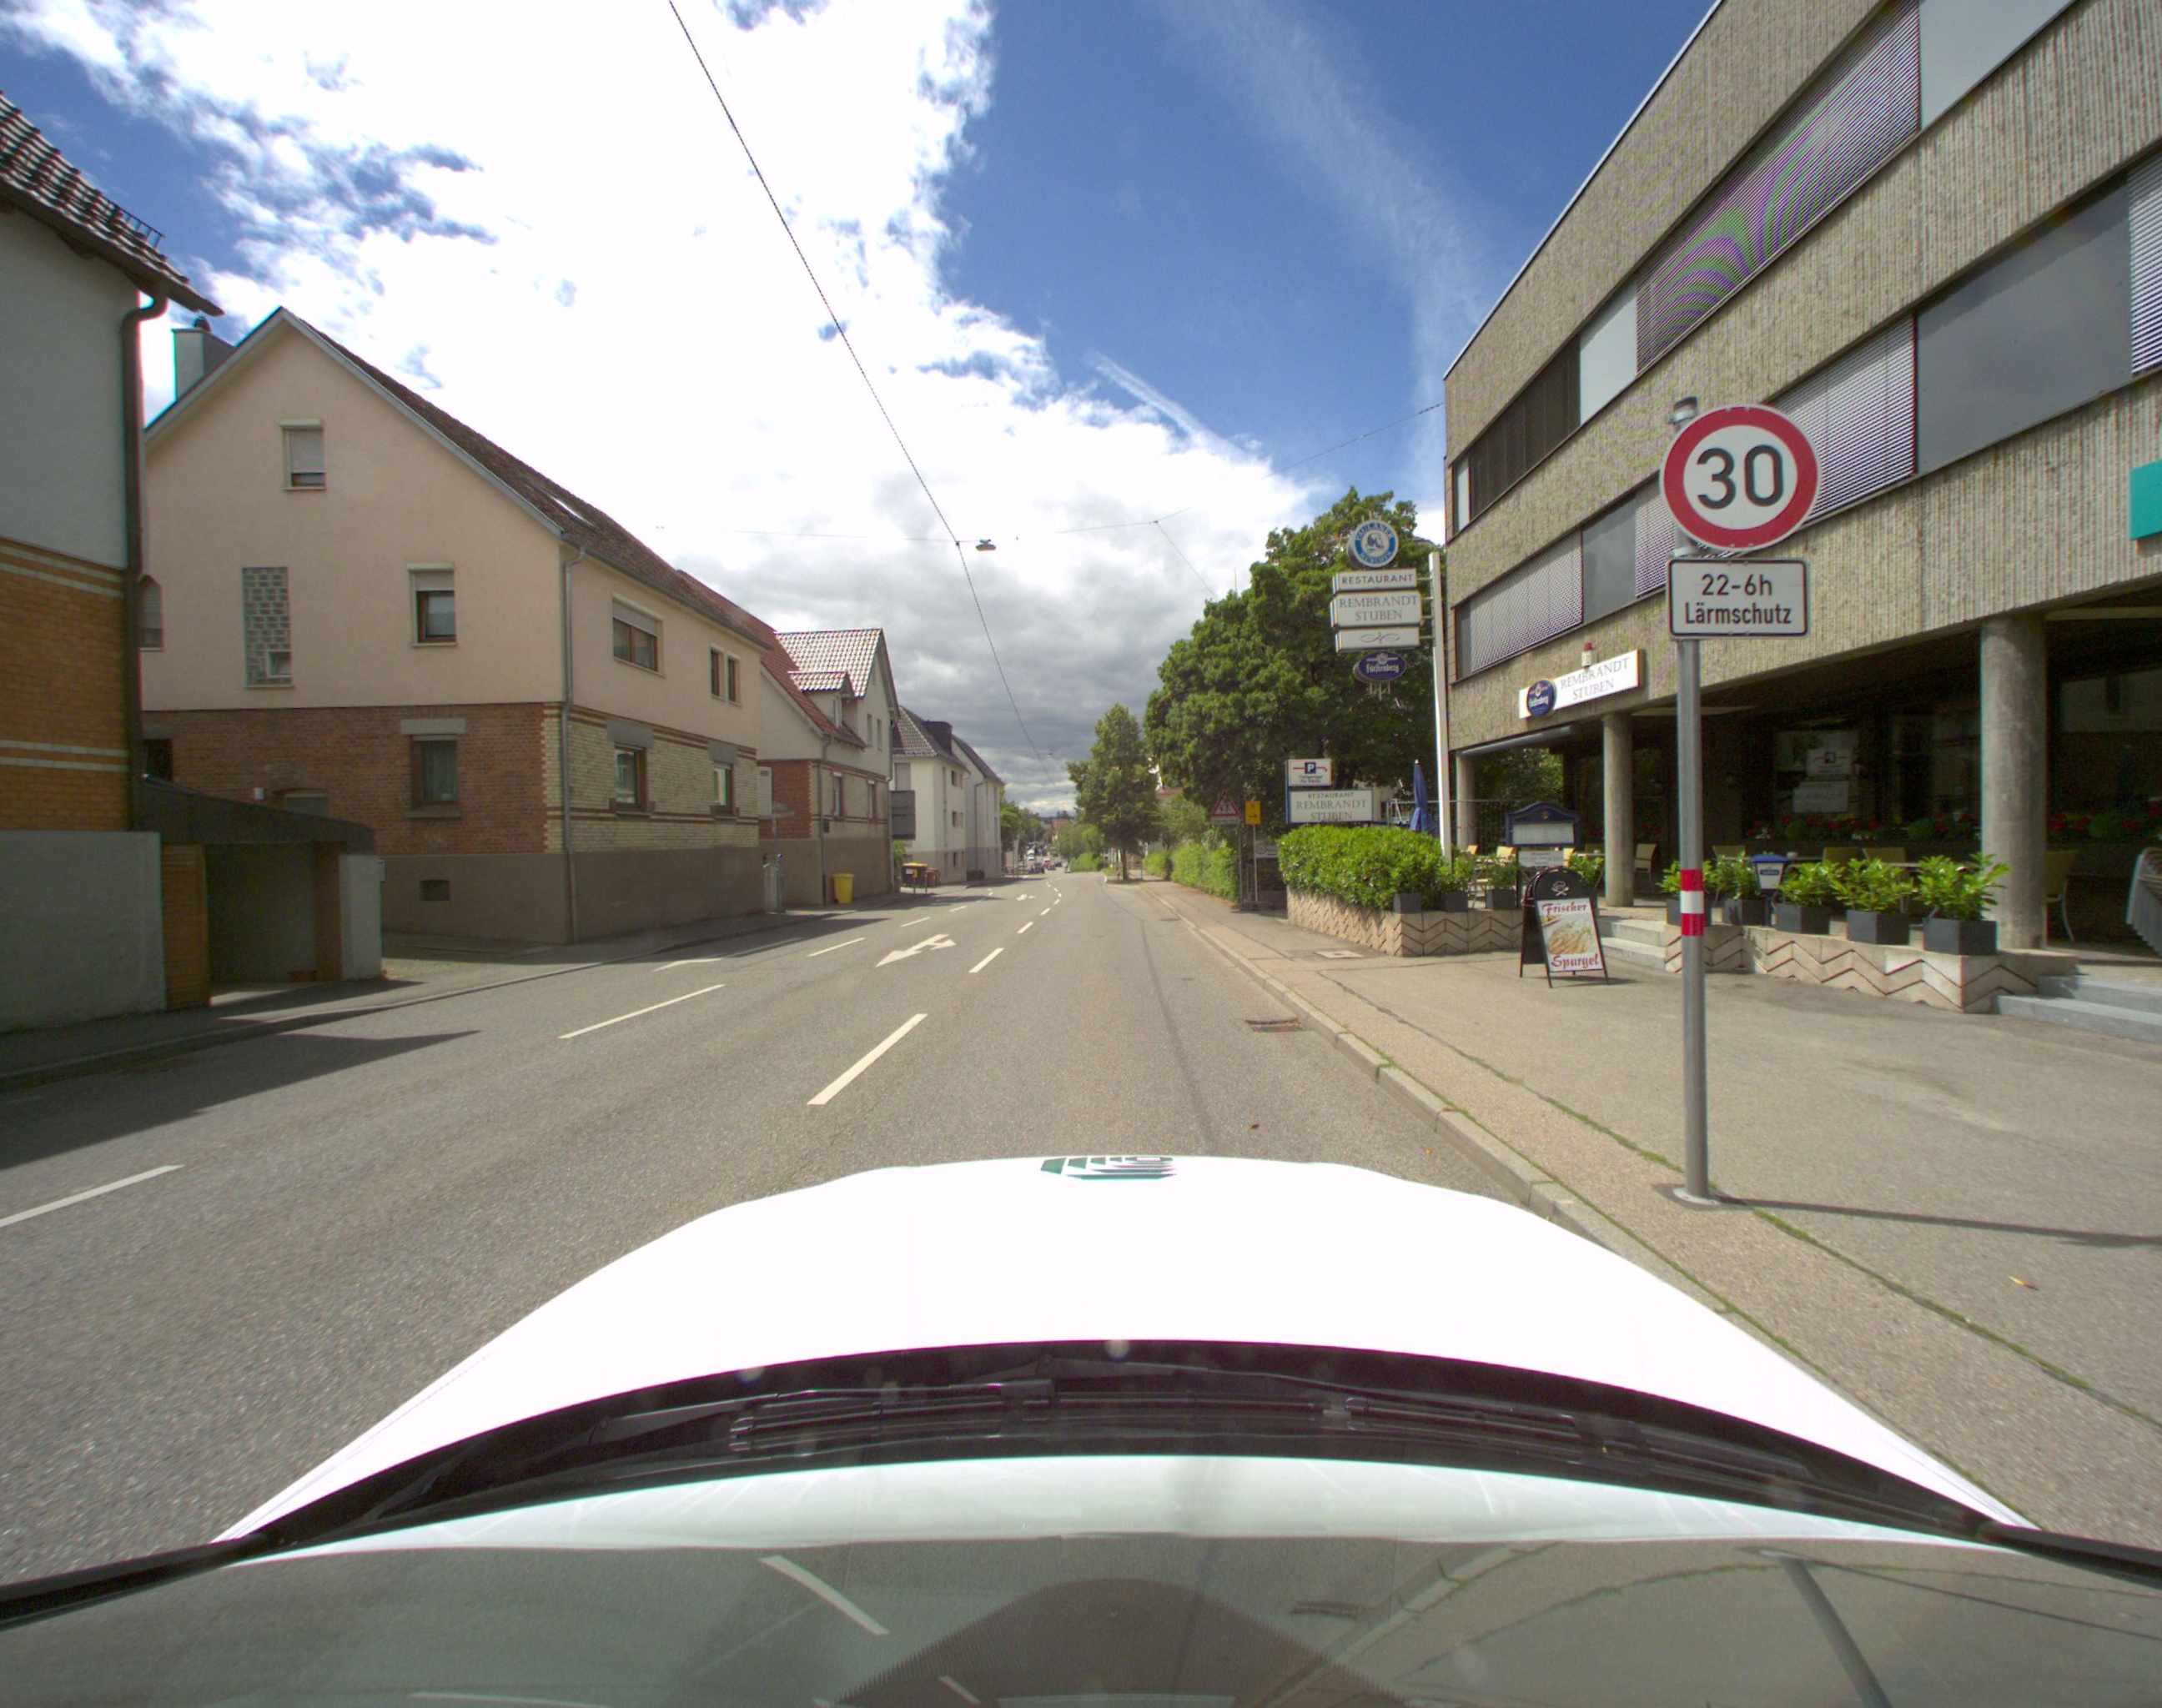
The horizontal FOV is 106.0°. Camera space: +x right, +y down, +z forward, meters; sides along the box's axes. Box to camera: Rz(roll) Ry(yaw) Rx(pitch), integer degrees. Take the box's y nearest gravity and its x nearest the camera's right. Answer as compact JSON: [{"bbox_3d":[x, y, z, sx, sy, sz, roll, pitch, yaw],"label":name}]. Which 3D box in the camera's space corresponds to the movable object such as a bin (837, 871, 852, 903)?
[{"bbox_3d":[-8.519,1.204,29.354,0.430,1.128,0.299,-2,-1,0],"label":"movable object such as a bin"}]

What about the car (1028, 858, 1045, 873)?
[{"bbox_3d":[-6.169,1.531,112.042,1.992,2.014,3.989,-1,-1,-8],"label":"car"}]

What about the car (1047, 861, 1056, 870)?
[{"bbox_3d":[-7.287,2.765,199.294,1.989,2.014,3.995,-2,-1,-3],"label":"car"}]

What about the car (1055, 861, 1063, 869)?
[{"bbox_3d":[-5.787,2.969,215.079,1.989,2.014,3.995,-2,-1,-3],"label":"car"}]

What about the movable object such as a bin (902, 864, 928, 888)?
[{"bbox_3d":[-9.239,1.209,45.412,1.279,1.310,0.815,-1,-1,-5],"label":"movable object such as a bin"}]

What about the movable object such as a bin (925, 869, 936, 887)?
[{"bbox_3d":[-8.589,1.356,46.516,0.530,1.030,0.455,-1,-1,-1],"label":"movable object such as a bin"}]

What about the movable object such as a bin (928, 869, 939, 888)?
[{"bbox_3d":[-8.515,1.412,47.151,0.530,1.030,0.455,-1,-1,-1],"label":"movable object such as a bin"}]

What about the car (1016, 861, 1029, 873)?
[{"bbox_3d":[-9.846,2.169,137.460,1.992,2.014,3.989,-1,-1,-8],"label":"car"}]
